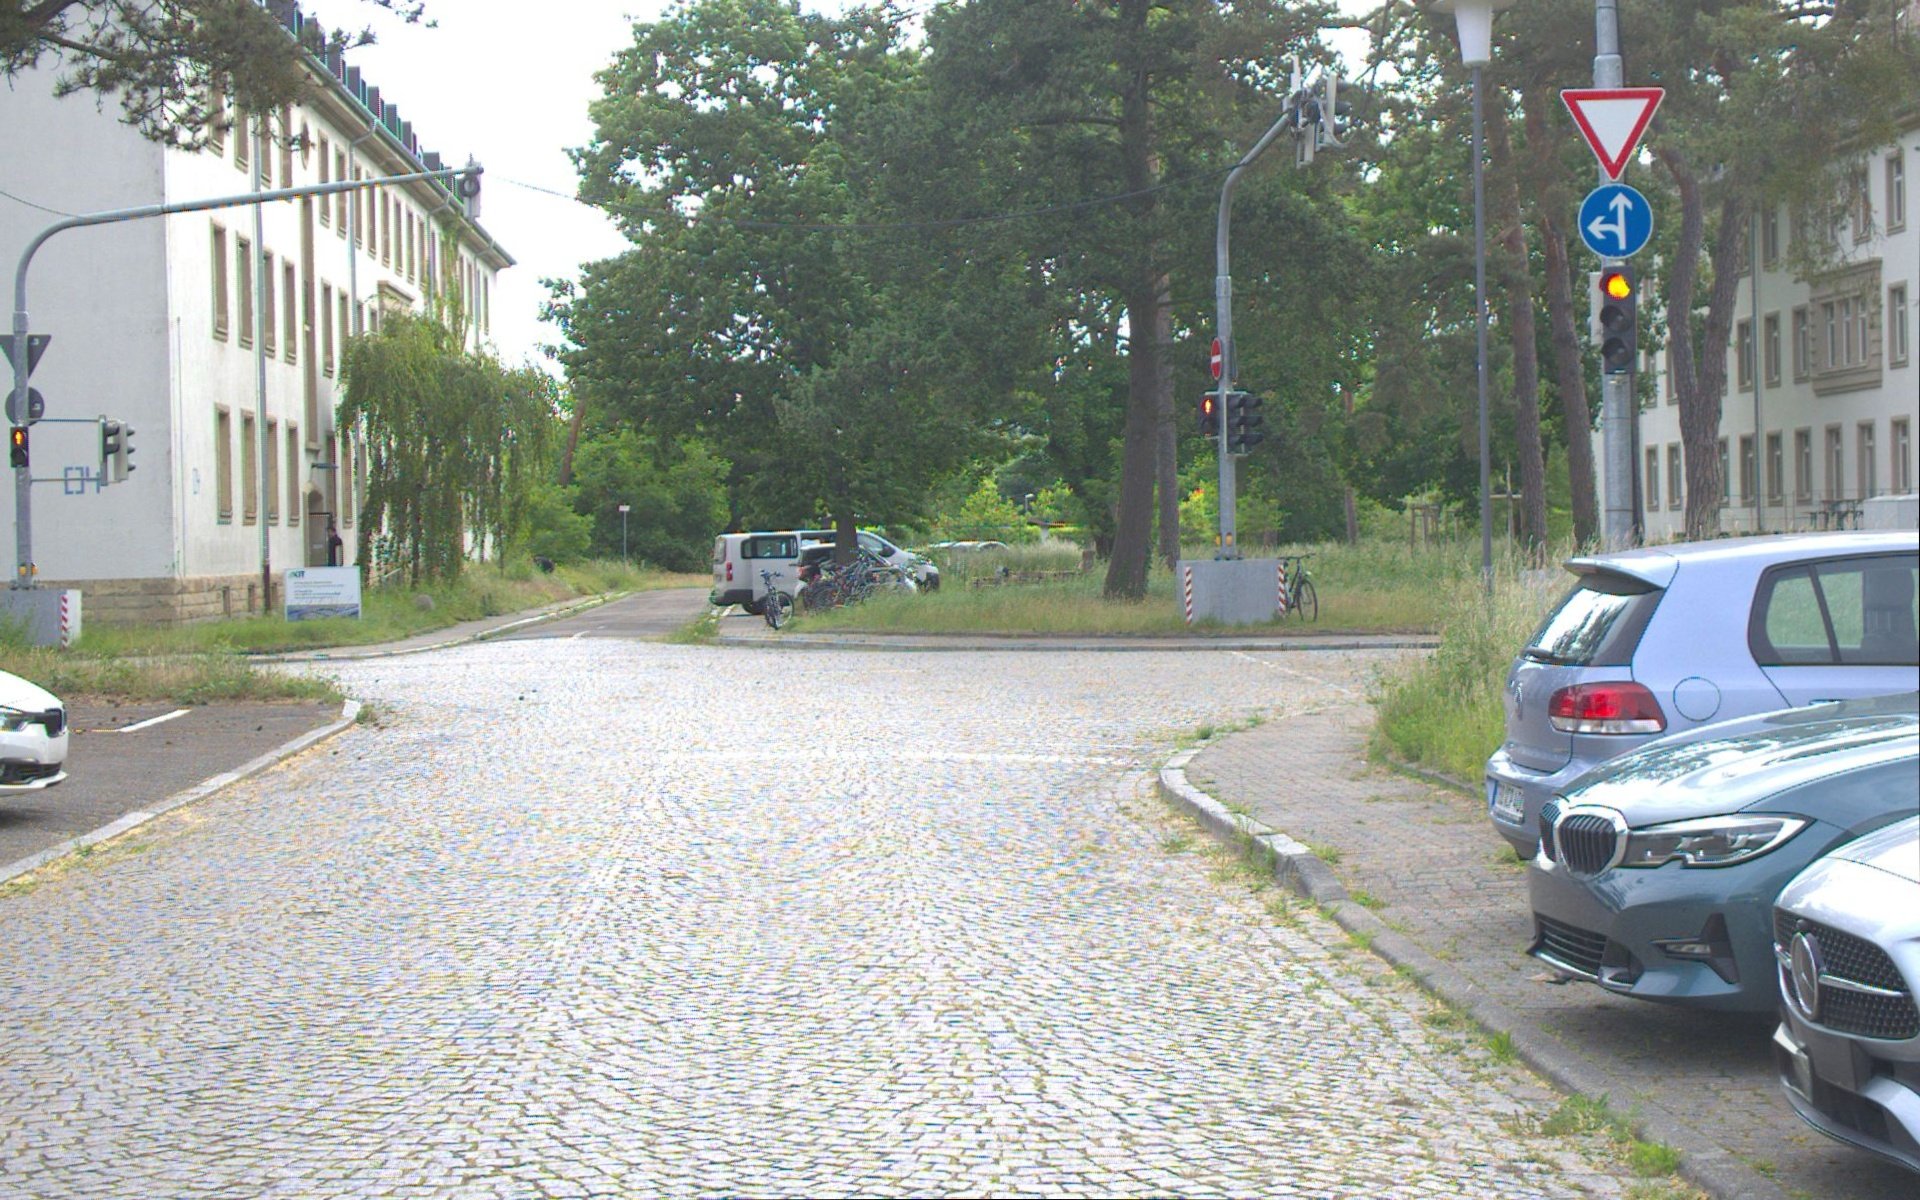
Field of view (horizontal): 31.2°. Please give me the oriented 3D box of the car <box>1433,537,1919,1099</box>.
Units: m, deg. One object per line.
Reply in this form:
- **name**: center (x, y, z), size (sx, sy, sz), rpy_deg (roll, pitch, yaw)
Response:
- **car**: center (3.783, 0.525, 10.618), size (4.227, 1.474, 1.710), rpy_deg (-2, 1, -13)

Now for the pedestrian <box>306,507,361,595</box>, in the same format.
- **pedestrian**: center (-14.047, -1.104, 77.116), size (1.074, 1.952, 1.121), rpy_deg (0, 1, -2)

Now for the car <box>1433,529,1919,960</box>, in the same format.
- **car**: center (4.065, 0.452, 13.184), size (4.134, 1.458, 1.634), rpy_deg (-2, 1, -8)

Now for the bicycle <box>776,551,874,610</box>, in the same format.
- **bicycle**: center (-2.701, -0.396, 68.570), size (1.881, 1.167, 0.665), rpy_deg (0, 1, -8)

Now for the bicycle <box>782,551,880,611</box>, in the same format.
- **bicycle**: center (-2.540, -0.381, 67.623), size (1.881, 1.167, 0.665), rpy_deg (0, 1, -8)

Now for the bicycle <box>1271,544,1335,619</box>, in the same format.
- **bicycle**: center (4.993, -0.280, 50.099), size (0.663, 1.047, 1.888), rpy_deg (0, 1, -2)

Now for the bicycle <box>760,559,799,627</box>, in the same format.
- **bicycle**: center (-3.165, -0.137, 60.415), size (0.663, 1.167, 1.888), rpy_deg (0, 1, -2)

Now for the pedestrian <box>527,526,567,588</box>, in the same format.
- **pedestrian**: center (-13.117, -1.372, 109.186), size (1.239, 1.952, 1.121), rpy_deg (0, 1, -8)

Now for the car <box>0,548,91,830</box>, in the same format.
- **car**: center (-7.294, 0.553, 19.655), size (4.297, 1.548, 1.812), rpy_deg (-2, 1, -8)

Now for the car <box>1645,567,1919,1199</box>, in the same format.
- **car**: center (3.898, 0.598, 7.853), size (4.184, 1.432, 1.756), rpy_deg (-2, 1, -9)

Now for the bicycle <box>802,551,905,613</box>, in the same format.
- **bicycle**: center (-2.027, -0.342, 65.097), size (1.881, 1.167, 0.665), rpy_deg (0, 1, -8)

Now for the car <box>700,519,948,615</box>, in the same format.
- **car**: center (-3.173, -0.791, 79.864), size (5.374, 2.094, 2.179), rpy_deg (-1, 1, -15)
